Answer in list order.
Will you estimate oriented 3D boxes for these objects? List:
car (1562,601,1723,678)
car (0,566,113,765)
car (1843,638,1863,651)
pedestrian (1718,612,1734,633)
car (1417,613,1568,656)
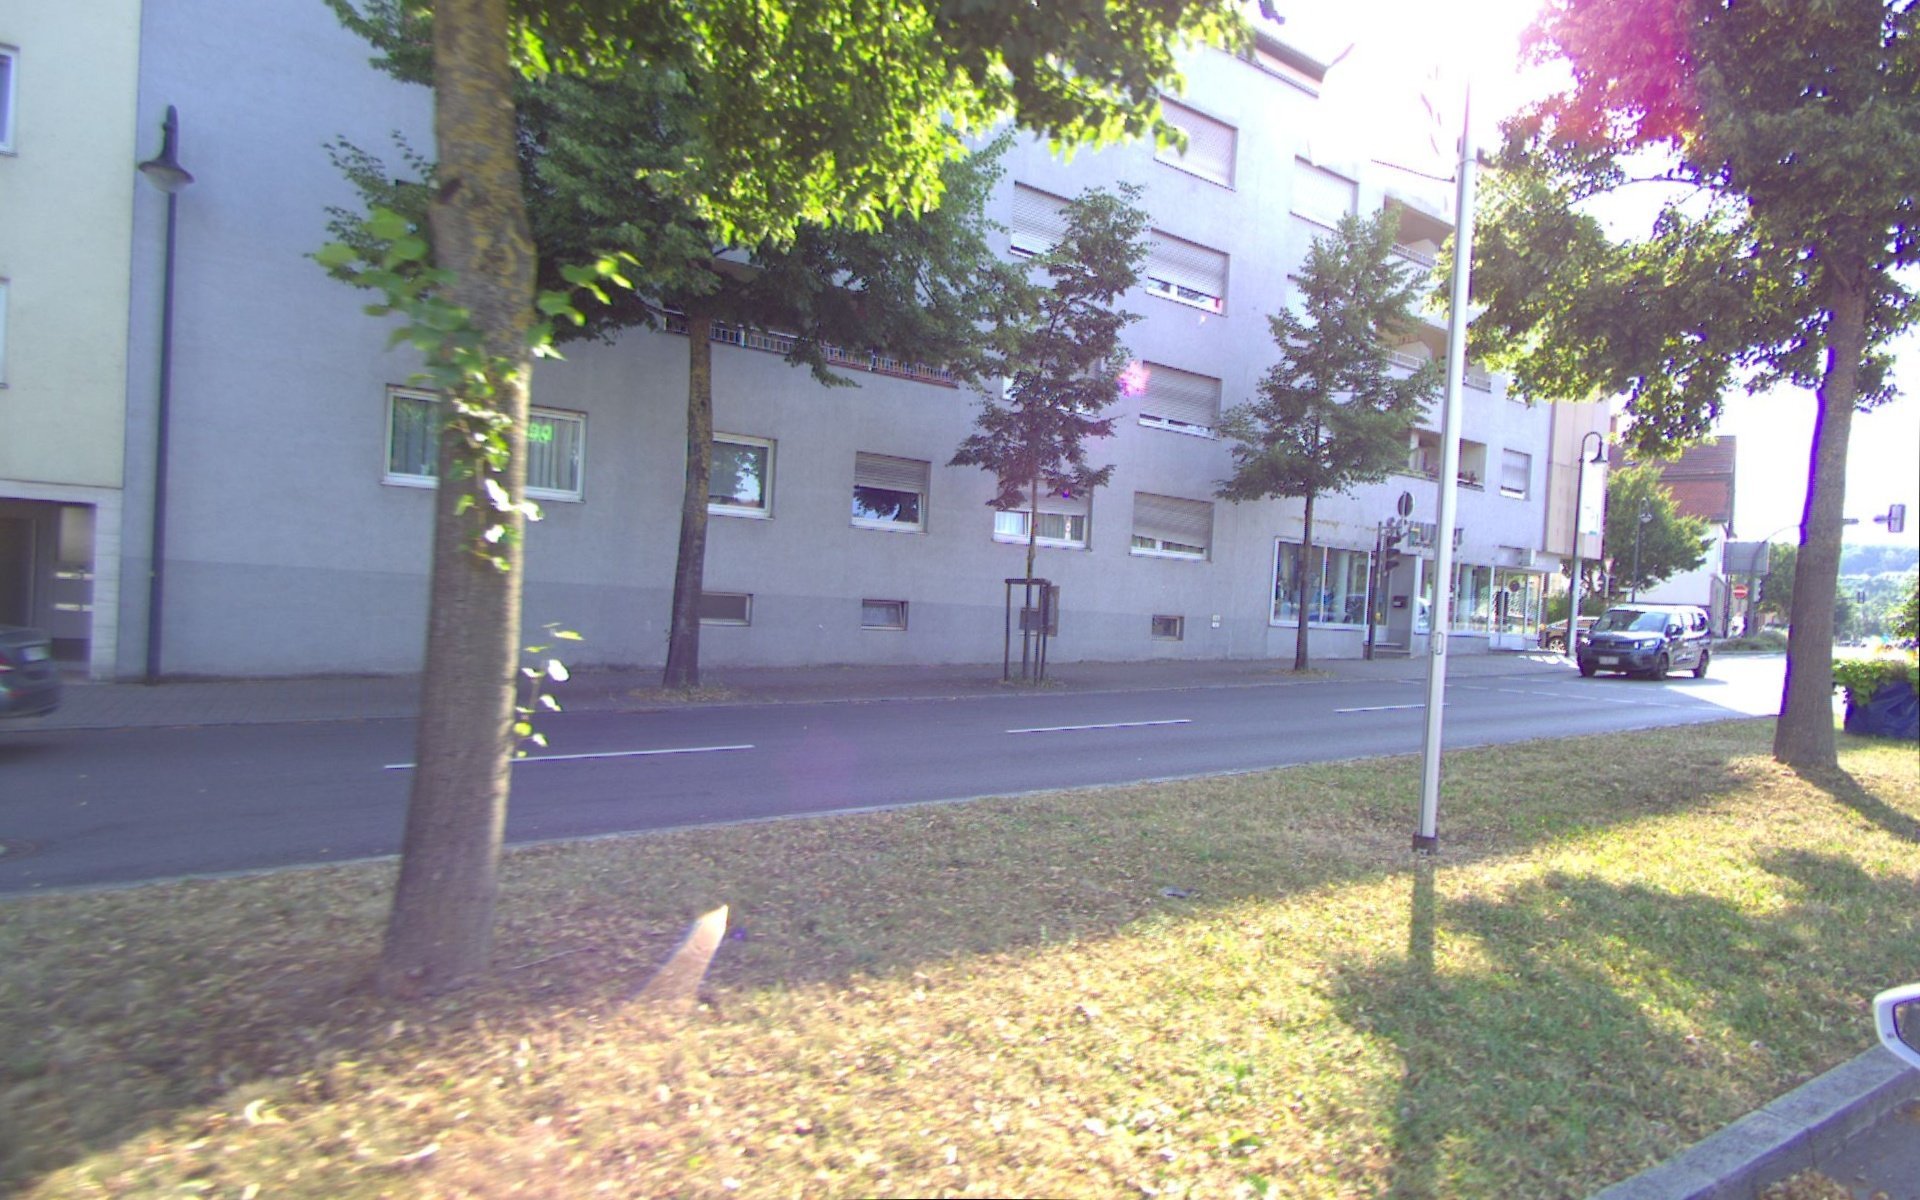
[{"bbox_3d":[17.433,0.997,25.562,4.875,1.759,1.840,2,0,-36],"label":"car"},{"bbox_3d":[-9.535,0.428,7.265,4.941,1.506,1.842,2,0,-32],"label":"car"},{"bbox_3d":[109.757,5.471,123.444,1.737,1.379,4.458,2,0,43],"label":"car"},{"bbox_3d":[52.651,1.576,69.059,0.803,1.413,0.703,2,1,41],"label":"pedestrian"},{"bbox_3d":[20.629,1.316,39.063,1.901,1.456,4.818,2,0,-40],"label":"car"}]
